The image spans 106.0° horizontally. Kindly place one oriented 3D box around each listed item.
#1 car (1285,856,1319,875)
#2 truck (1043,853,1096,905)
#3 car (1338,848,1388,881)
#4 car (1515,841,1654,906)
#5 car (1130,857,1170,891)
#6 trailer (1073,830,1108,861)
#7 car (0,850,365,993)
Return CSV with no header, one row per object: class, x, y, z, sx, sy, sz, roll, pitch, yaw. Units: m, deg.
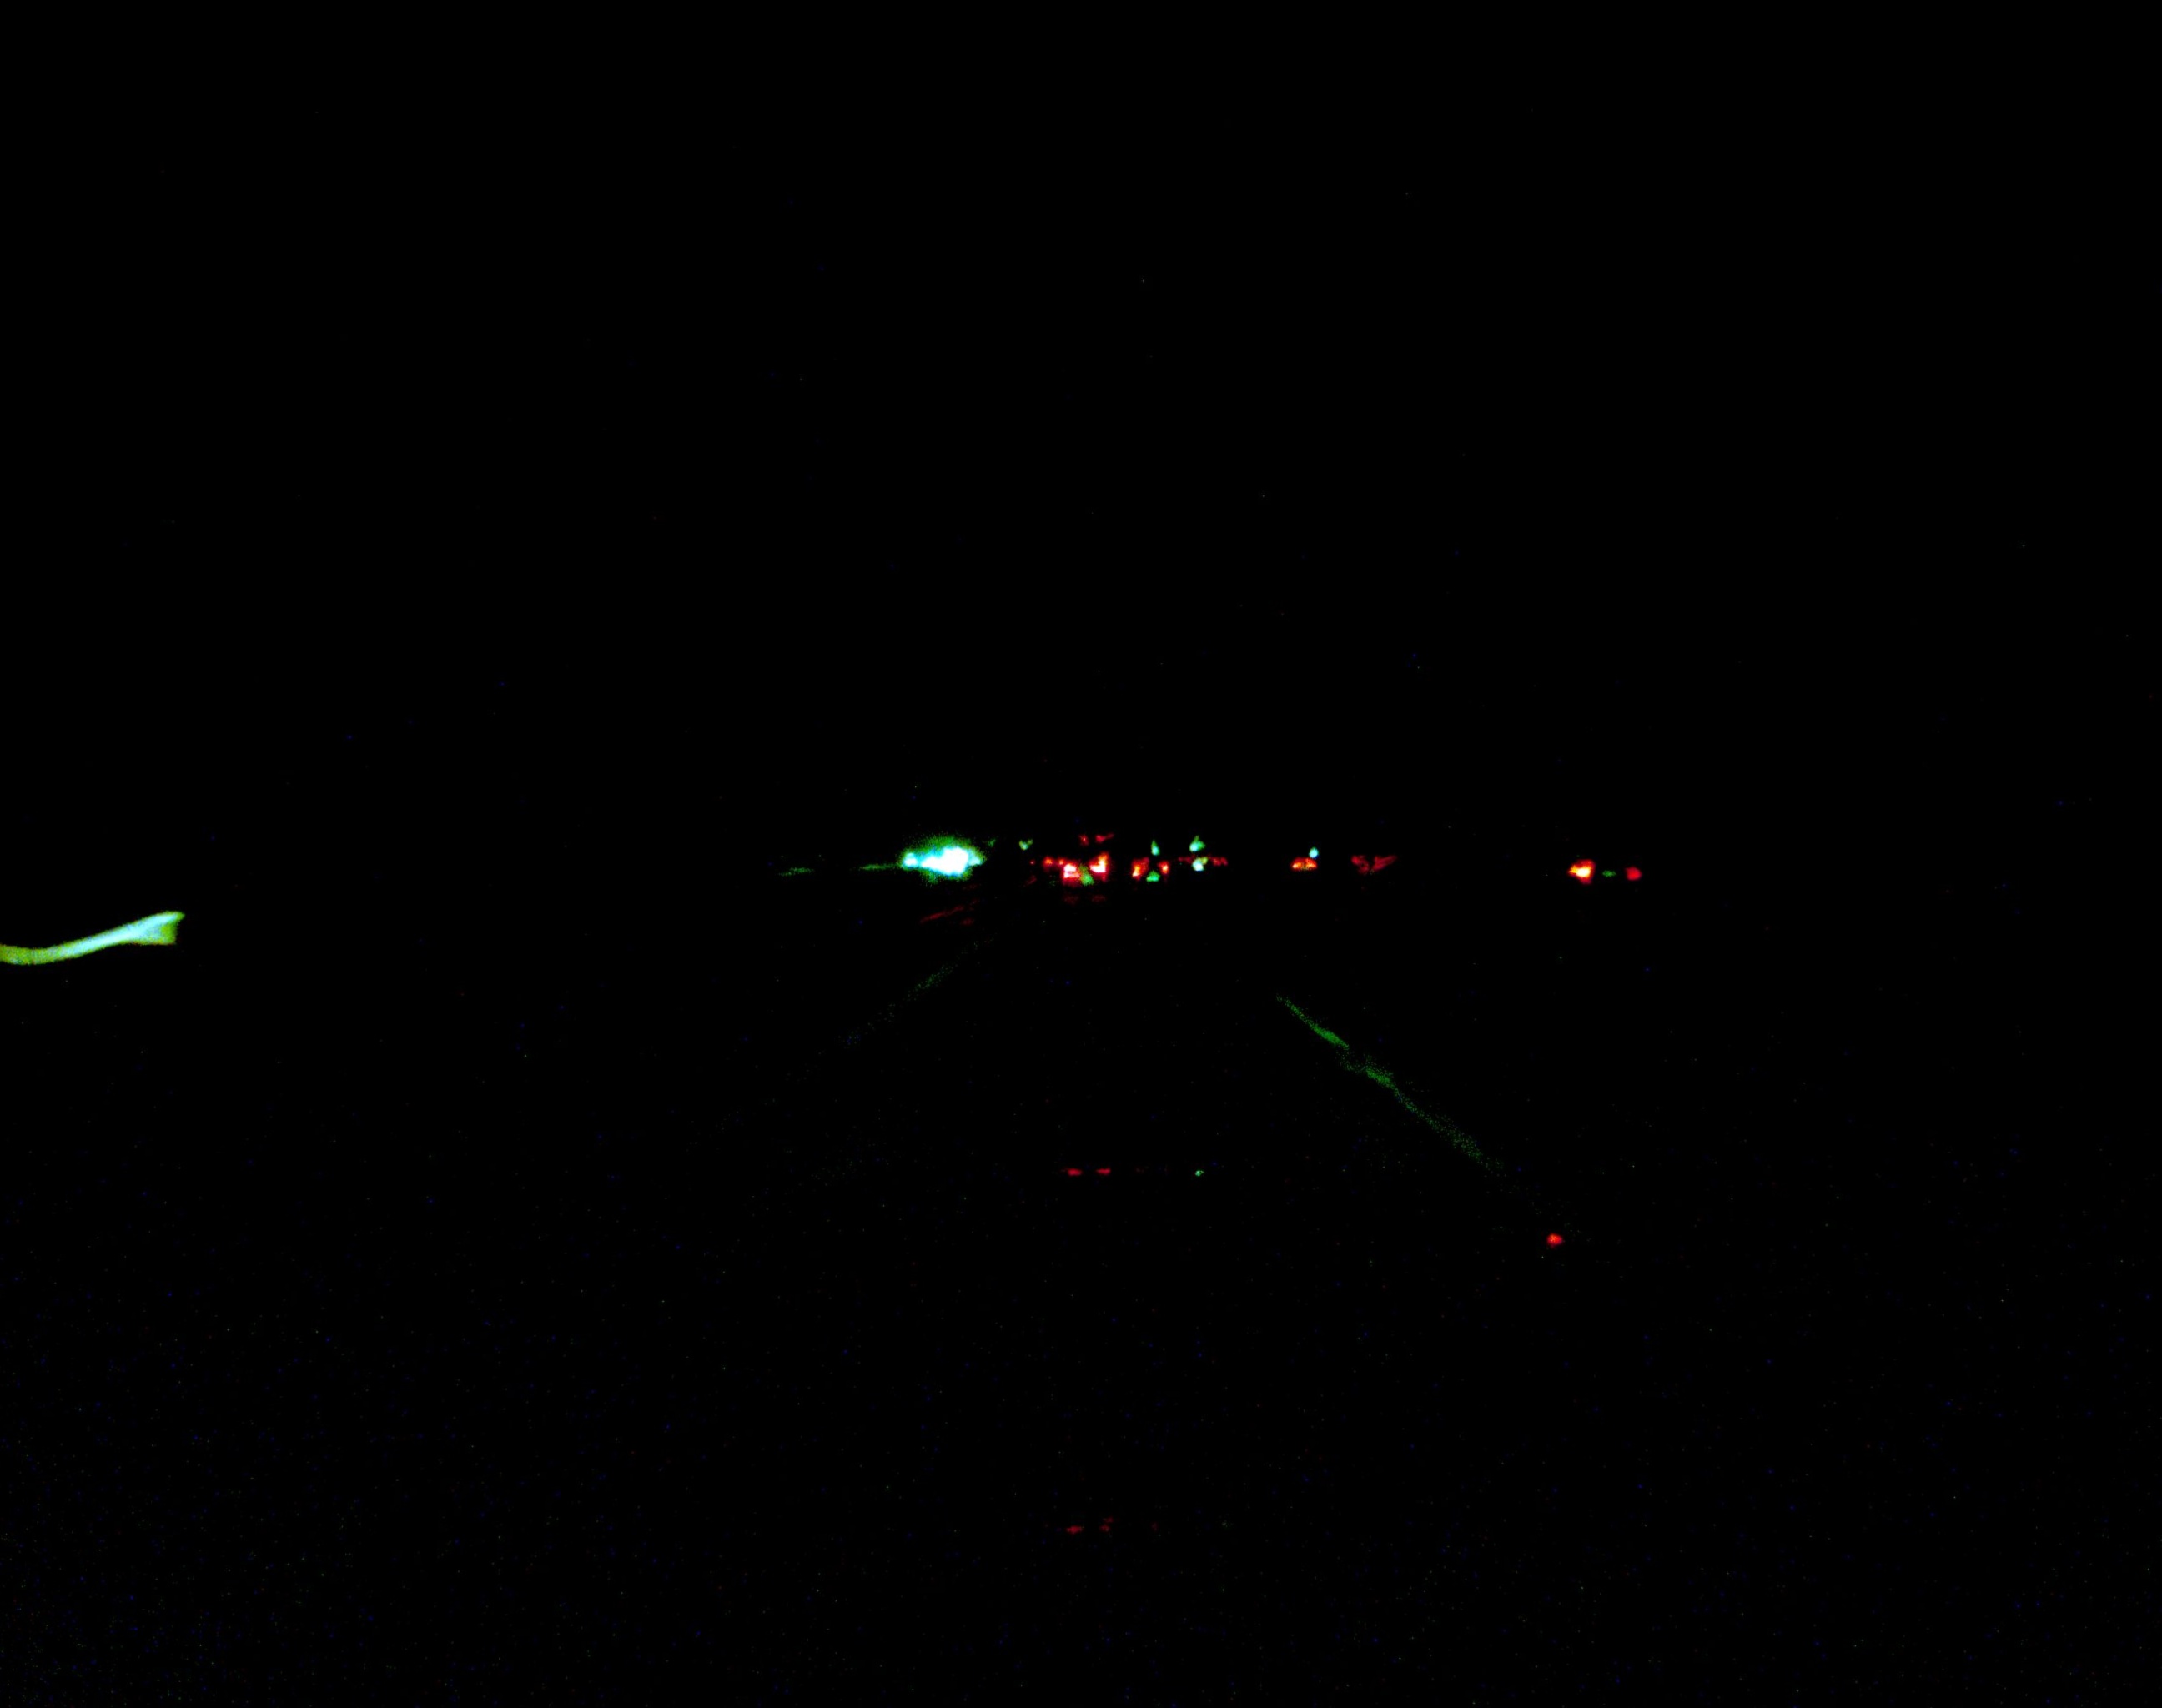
car,20.001,0.993,73.852,1.986,1.600,4.001,2,0,1
truck,-0.463,1.038,37.046,2.138,2.077,6.602,2,0,0
car,17.912,0.614,51.958,2.220,2.013,4.008,1,1,7
car,17.259,0.570,28.309,2.051,2.013,5.460,1,1,7
car,3.561,1.022,42.854,1.794,1.617,4.258,-2,0,1
trailer,1.270,-1.252,120.961,2.739,4.248,13.327,2,0,-9
car,-11.787,0.678,10.145,1.797,1.406,4.290,2,0,2
